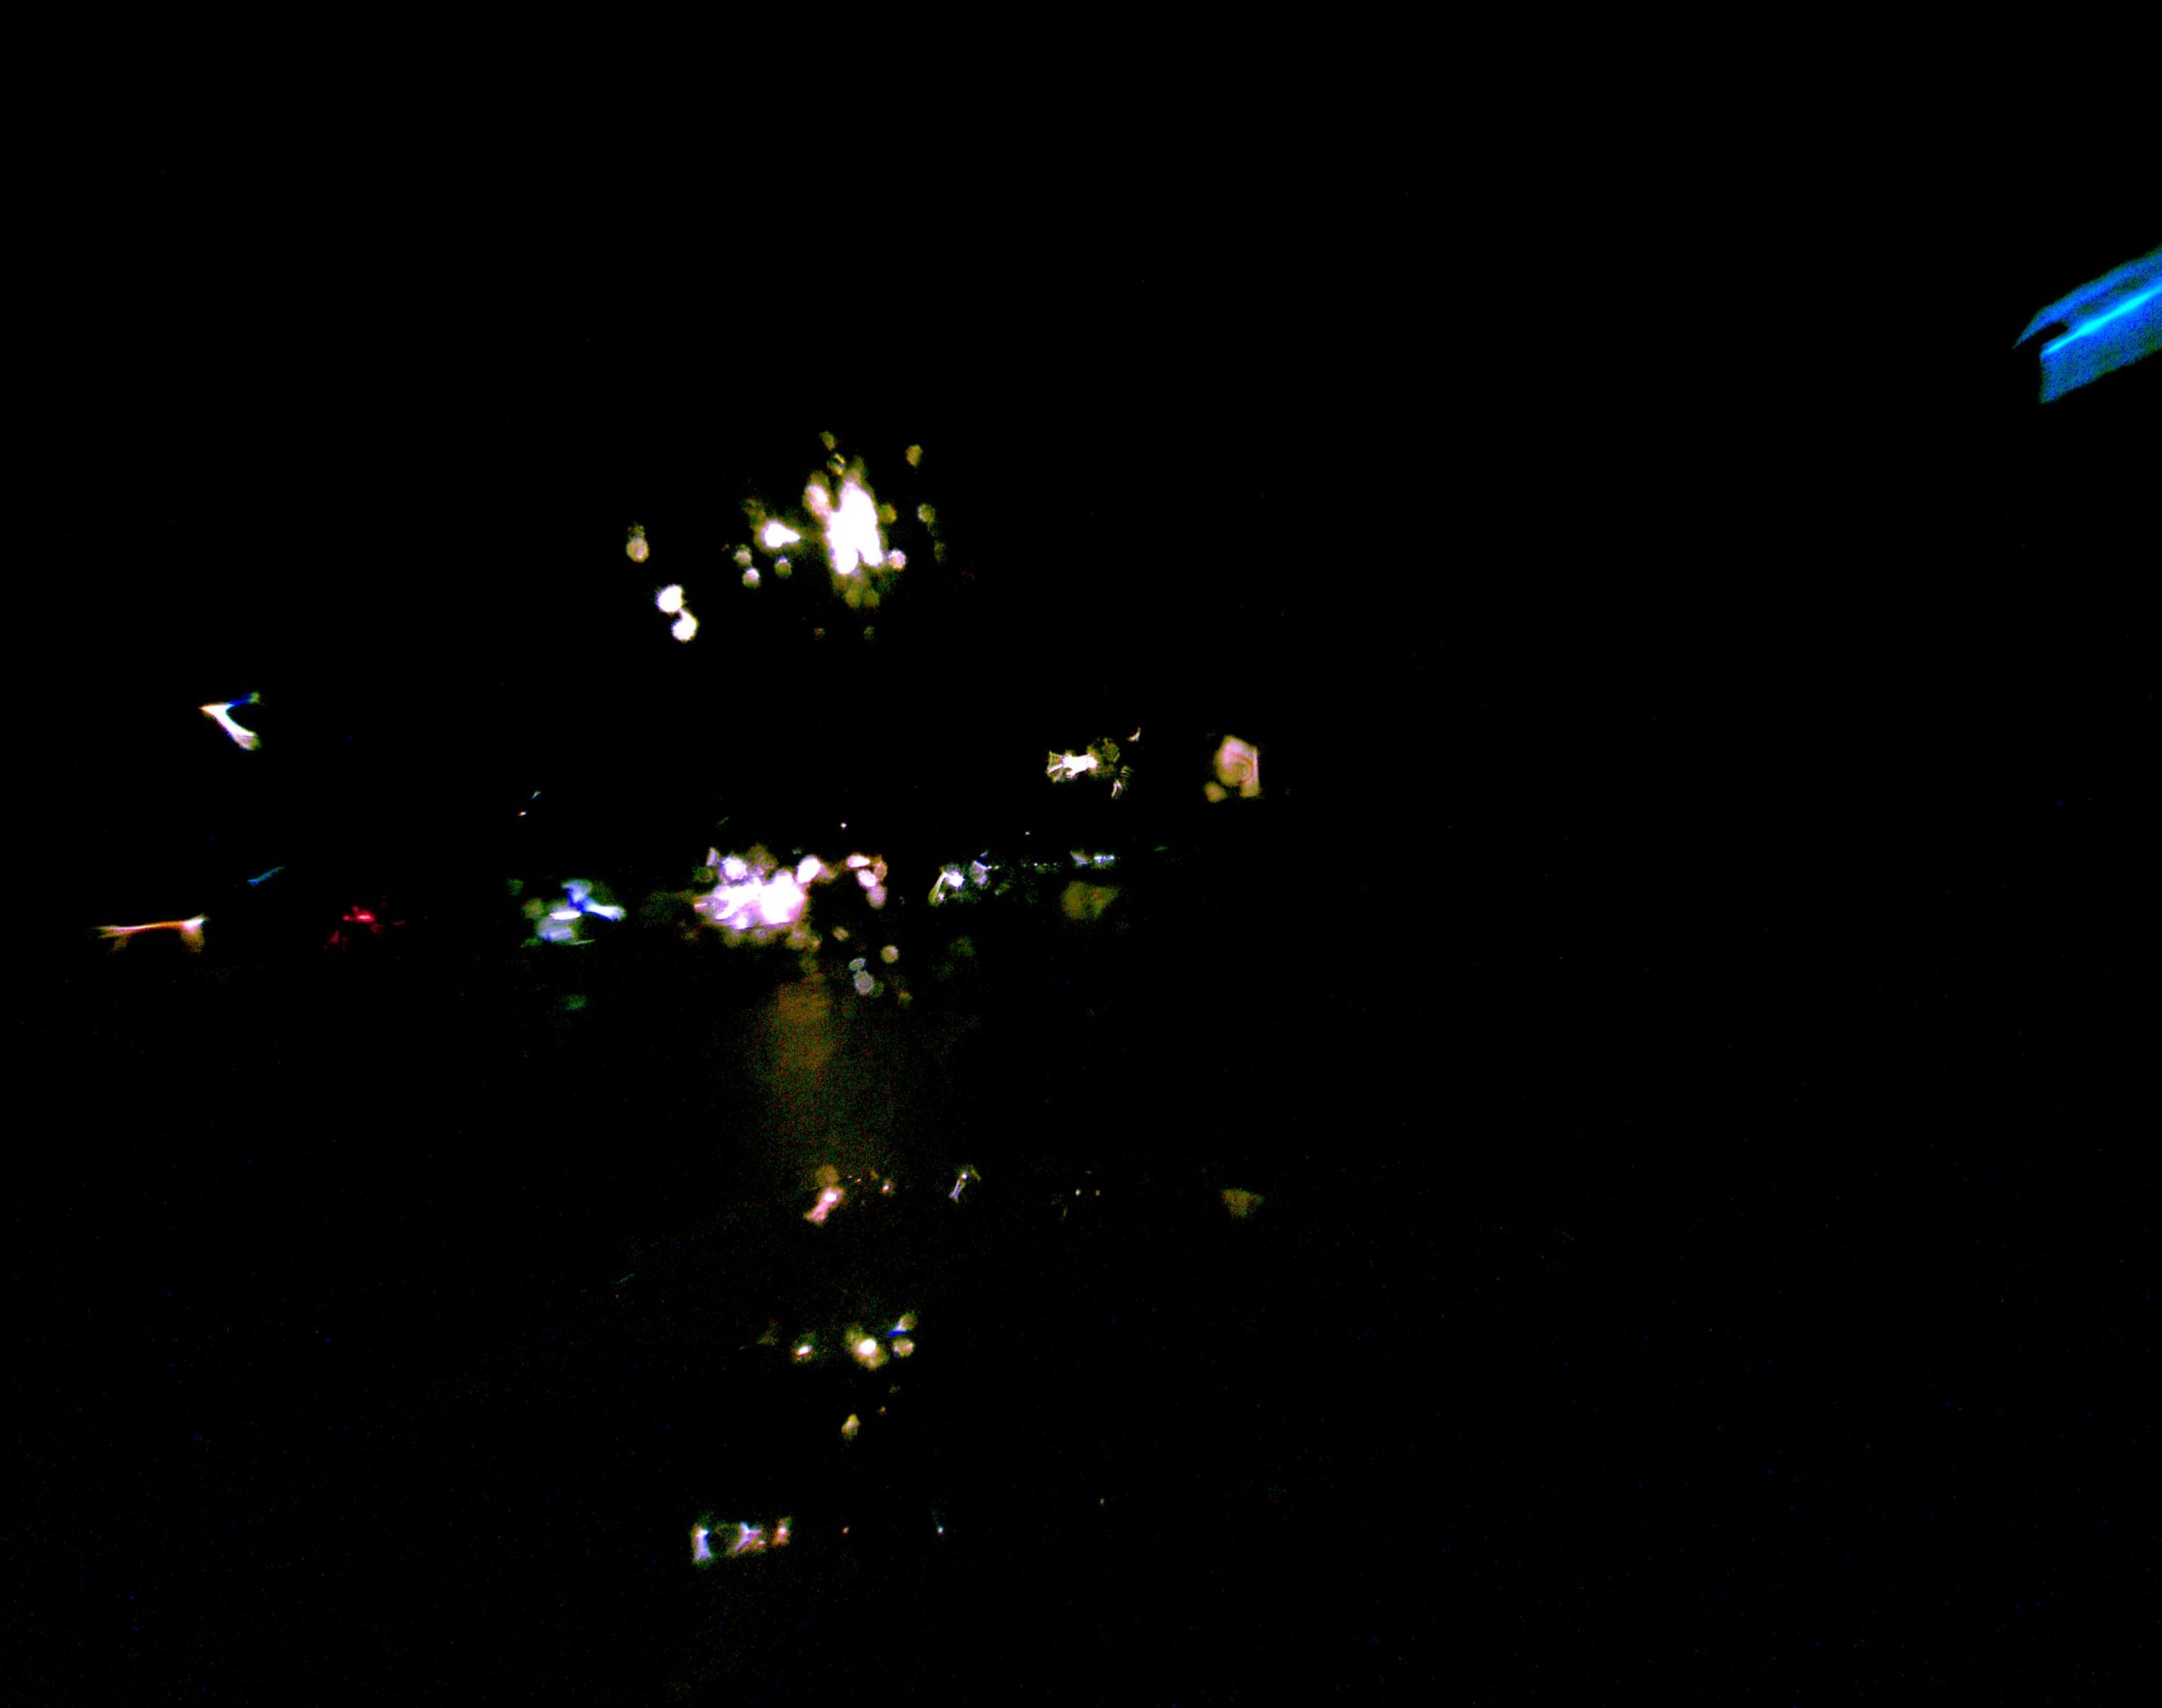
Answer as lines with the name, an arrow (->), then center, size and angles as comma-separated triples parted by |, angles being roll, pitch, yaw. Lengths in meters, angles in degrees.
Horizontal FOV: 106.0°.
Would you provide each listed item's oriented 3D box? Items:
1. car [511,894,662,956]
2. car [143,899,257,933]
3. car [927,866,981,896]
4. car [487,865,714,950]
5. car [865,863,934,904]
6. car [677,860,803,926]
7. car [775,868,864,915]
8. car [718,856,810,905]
car -> -13.240, 1.856, 22.086 | 1.661, 1.454, 3.730 | -1, -2, 2
car -> -52.539, 3.679, 48.672 | 1.977, 1.783, 4.120 | -2, -2, 18
car -> -6.899, 1.457, 44.566 | 1.699, 1.534, 4.608 | -1, -2, 7
car -> -10.128, 1.035, 17.680 | 1.690, 1.571, 4.721 | -1, -1, 7
car -> -8.024, 1.302, 36.381 | 1.708, 1.703, 4.151 | -1, -2, 7
car -> -9.674, 1.089, 23.446 | 1.673, 1.691, 3.953 | -1, -2, 5
car -> -9.116, 1.287, 28.659 | 1.577, 1.526, 3.658 | -1, -2, 7
car -> -12.051, 1.019, 31.225 | 1.987, 1.720, 3.998 | -1, -2, -1
